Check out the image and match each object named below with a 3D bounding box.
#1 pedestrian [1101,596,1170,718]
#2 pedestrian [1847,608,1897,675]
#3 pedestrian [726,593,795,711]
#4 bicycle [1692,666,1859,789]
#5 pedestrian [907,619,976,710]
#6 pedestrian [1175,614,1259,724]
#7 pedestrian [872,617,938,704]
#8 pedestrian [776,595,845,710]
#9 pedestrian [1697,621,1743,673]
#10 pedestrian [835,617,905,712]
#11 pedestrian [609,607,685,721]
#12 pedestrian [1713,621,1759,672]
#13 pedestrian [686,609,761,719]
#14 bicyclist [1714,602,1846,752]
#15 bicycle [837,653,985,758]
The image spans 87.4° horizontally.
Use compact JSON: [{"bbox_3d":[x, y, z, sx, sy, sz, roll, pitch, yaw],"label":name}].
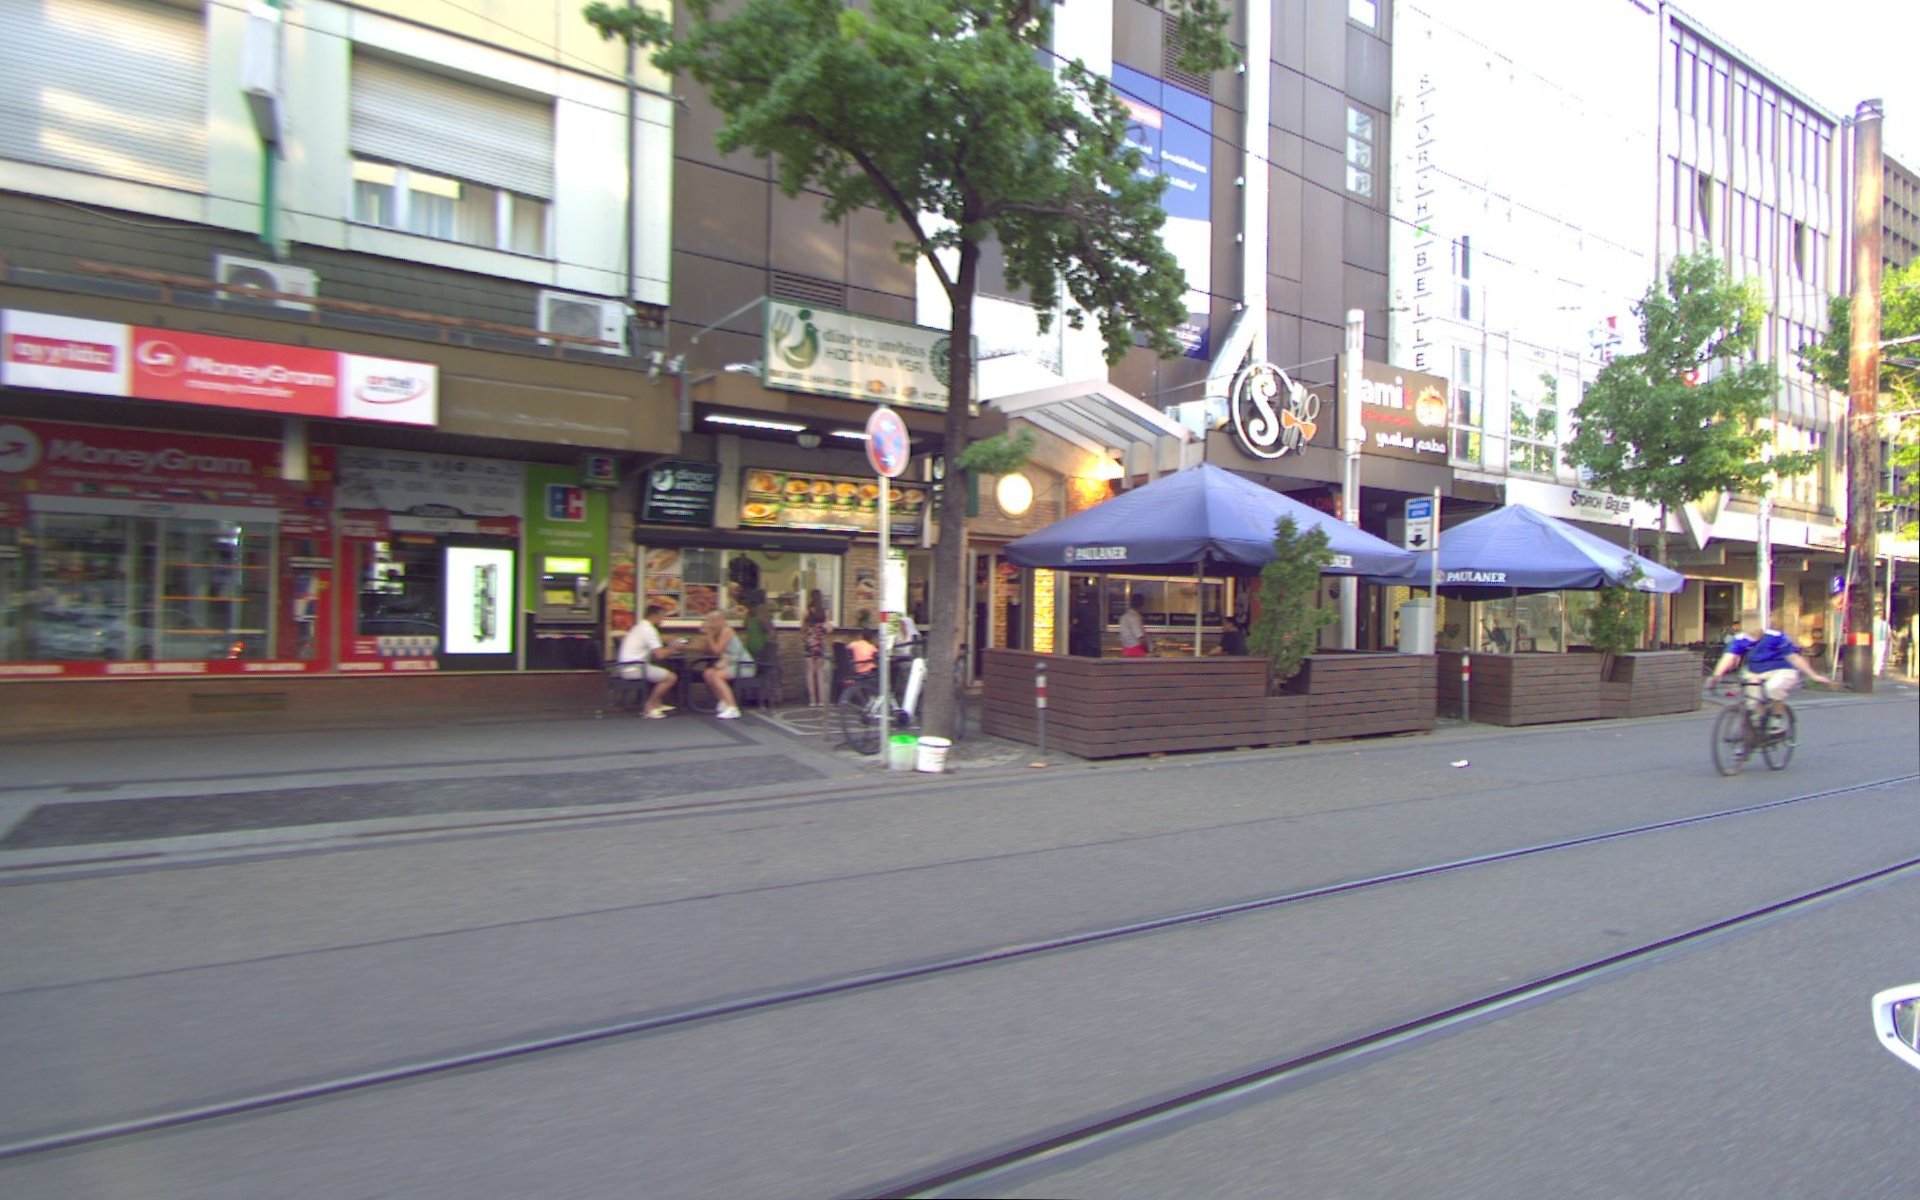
[{"bbox_3d":[2.366,0.756,13.570,0.559,1.573,0.652,2,2,-33],"label":"pedestrian"},{"bbox_3d":[25.489,1.163,28.072,0.978,1.816,0.681,2,2,-28],"label":"pedestrian"},{"bbox_3d":[-2.607,0.670,13.091,0.636,1.453,0.657,2,3,-31],"label":"pedestrian"},{"bbox_3d":[8.353,1.256,10.276,1.844,1.088,0.726,1,1,-31],"label":"bicycle"},{"bbox_3d":[-0.263,0.868,13.711,0.658,1.172,0.637,2,2,-33],"label":"pedestrian"},{"bbox_3d":[3.534,0.930,13.857,0.738,1.420,0.760,2,2,-32],"label":"pedestrian"},{"bbox_3d":[-0.788,0.857,14.334,0.658,1.172,0.637,2,2,-33],"label":"pedestrian"},{"bbox_3d":[-2.007,0.690,13.473,0.636,1.453,0.657,2,3,-31],"label":"pedestrian"},{"bbox_3d":[20.511,1.254,27.123,0.902,1.343,0.666,2,2,-32],"label":"pedestrian"},{"bbox_3d":[-1.185,0.837,13.183,0.658,1.172,0.637,2,2,-33],"label":"pedestrian"},{"bbox_3d":[-3.675,0.738,11.788,0.658,1.244,0.637,2,3,-33],"label":"pedestrian"},{"bbox_3d":[21.480,1.286,27.808,0.902,1.343,0.666,2,2,-32],"label":"pedestrian"},{"bbox_3d":[-2.876,0.765,12.183,0.658,1.244,0.637,2,3,-33],"label":"pedestrian"},{"bbox_3d":[8.384,0.758,10.280,0.887,1.433,0.755,1,1,-31],"label":"bicyclist"},{"bbox_3d":[-0.477,1.079,10.669,0.473,0.938,1.819,2,1,38],"label":"bicycle"}]
